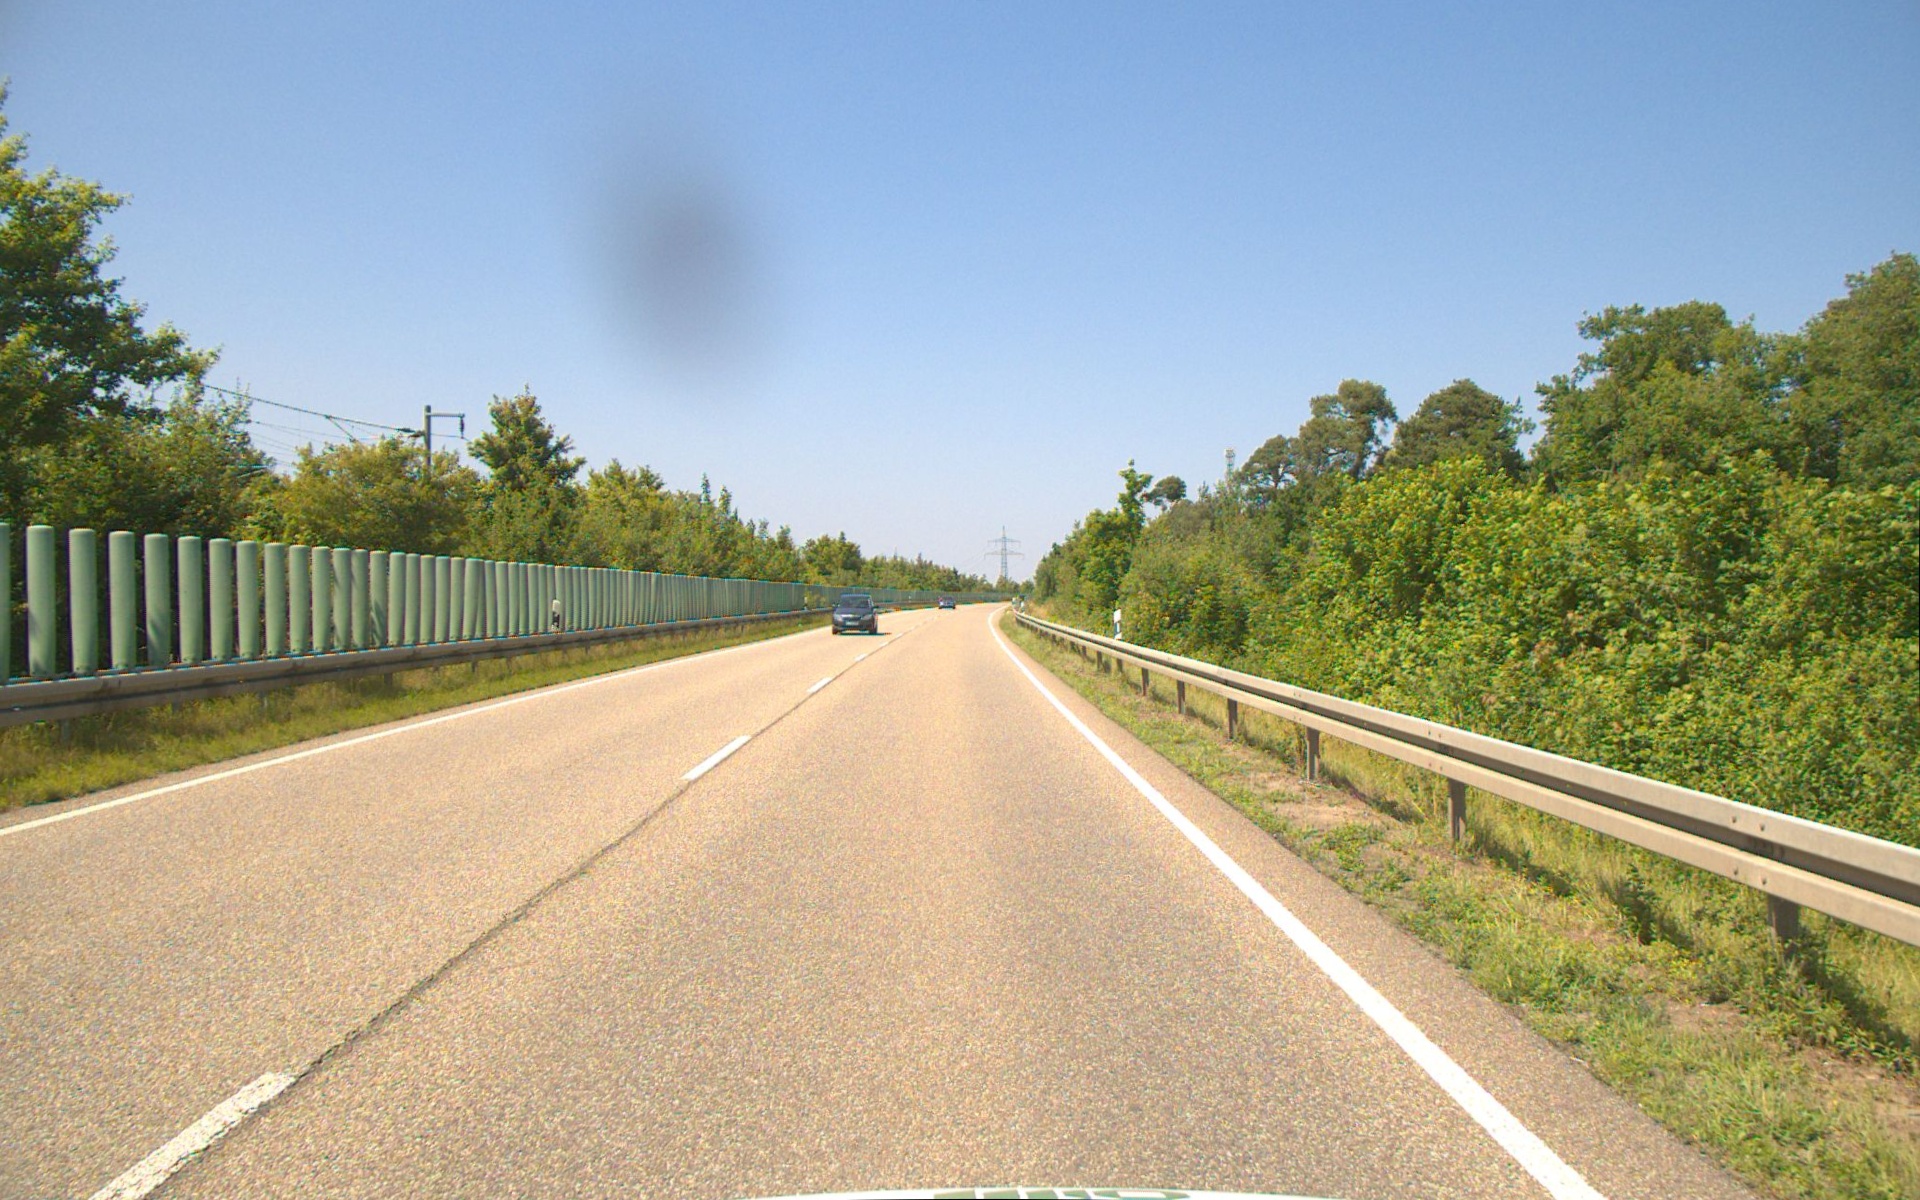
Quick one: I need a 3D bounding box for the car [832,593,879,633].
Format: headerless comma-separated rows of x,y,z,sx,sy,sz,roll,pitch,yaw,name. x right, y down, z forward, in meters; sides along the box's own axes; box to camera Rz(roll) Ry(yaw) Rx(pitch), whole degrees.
-4.001,0.480,63.784,1.615,1.505,3.676,1,0,-1,car

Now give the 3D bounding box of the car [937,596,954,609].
-1.582,0.264,178.378,1.750,1.395,3.897,1,1,1,car
